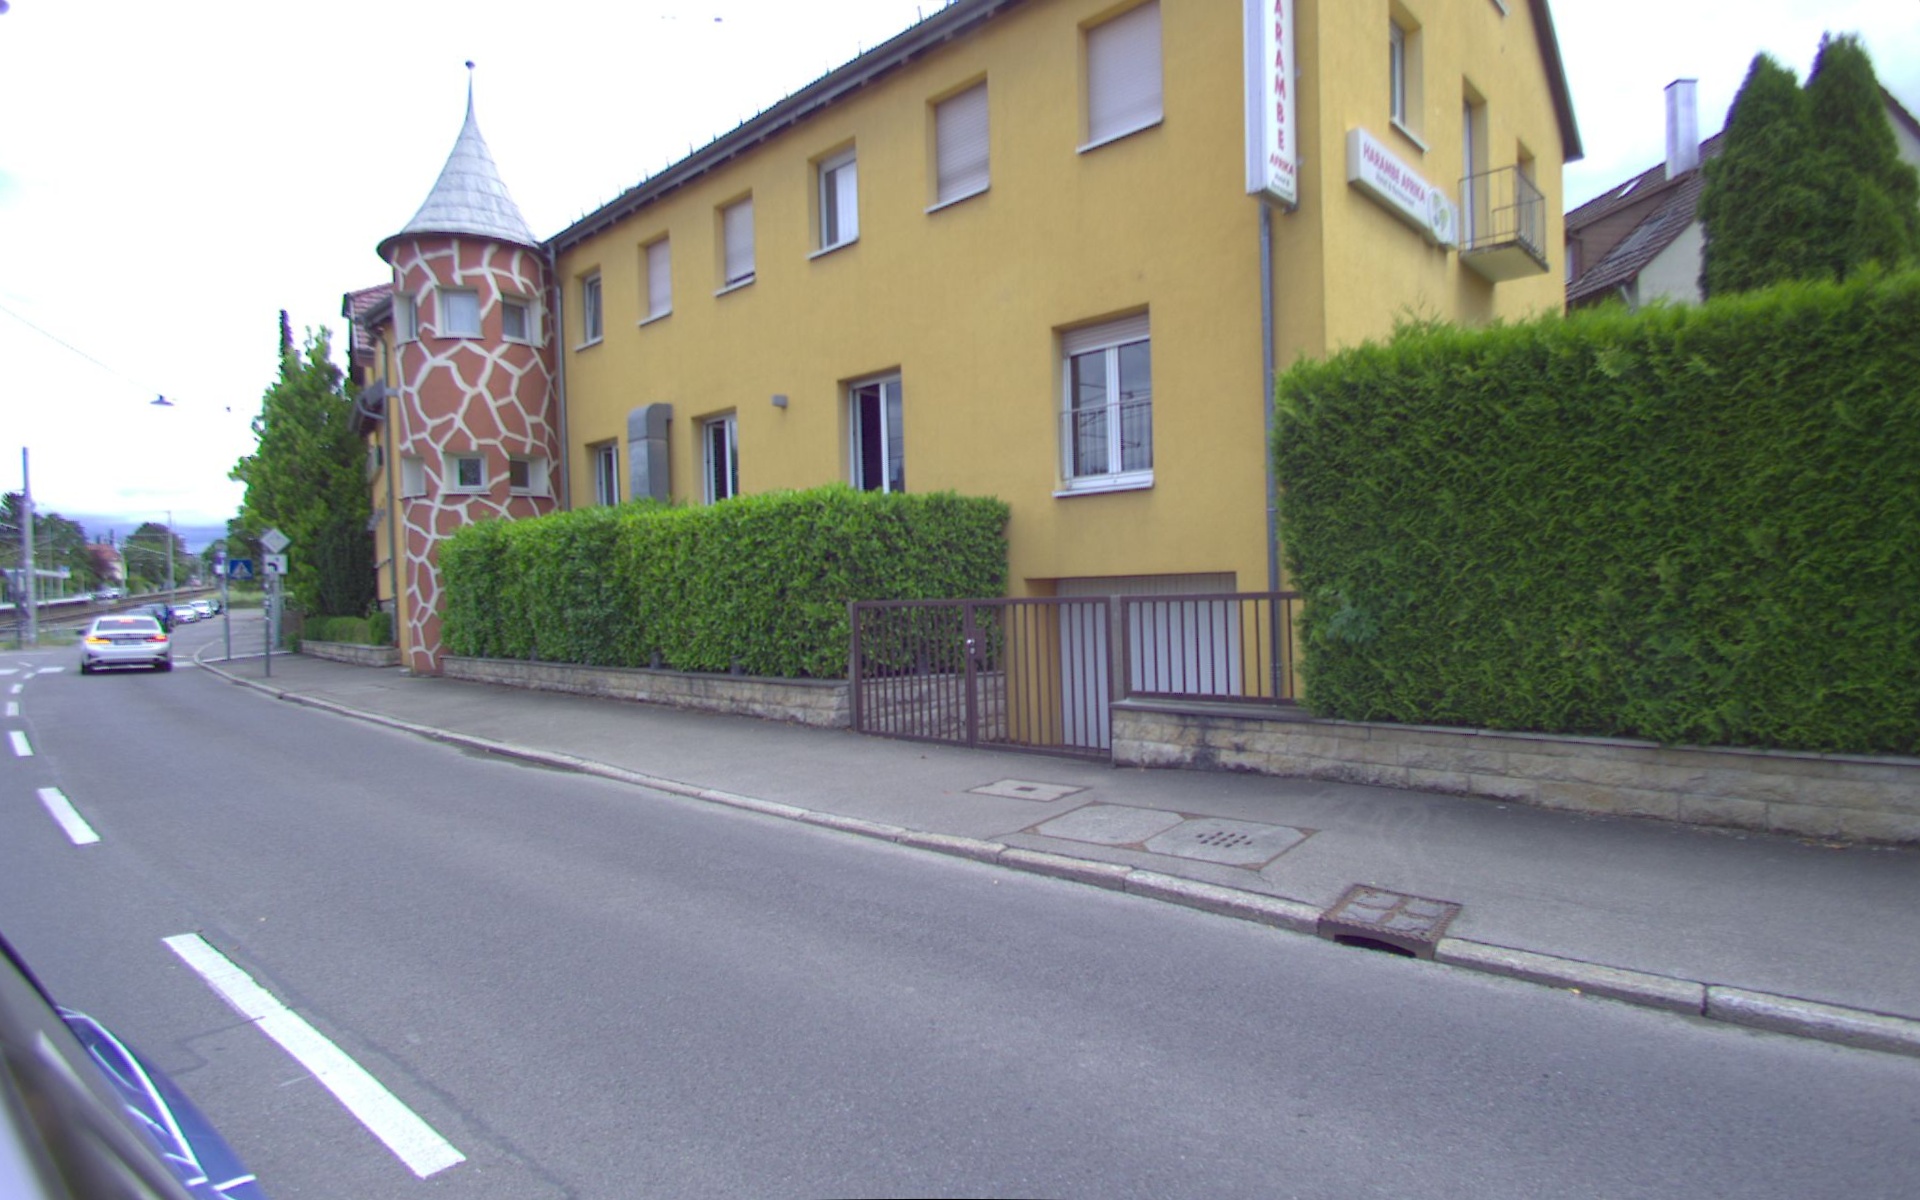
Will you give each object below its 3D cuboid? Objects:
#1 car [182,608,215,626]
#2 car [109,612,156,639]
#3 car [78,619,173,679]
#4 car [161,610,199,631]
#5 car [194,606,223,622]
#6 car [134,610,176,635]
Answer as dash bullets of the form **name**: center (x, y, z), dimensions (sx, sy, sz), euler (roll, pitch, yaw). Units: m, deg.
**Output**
- **car**: center (-64.456, 1.445, 85.717), dimensions (1.823, 1.386, 4.012), euler (-3, 1, -32)
- **car**: center (-50.114, 1.520, 61.339), dimensions (1.792, 1.512, 4.130), euler (-3, 1, -34)
- **car**: center (-21.960, 1.225, 26.666), dimensions (1.795, 1.430, 4.471), euler (1, -2, -40)
- **car**: center (-58.561, 1.504, 76.026), dimensions (1.823, 1.386, 4.012), euler (-3, 1, -32)
- **car**: center (-70.815, 1.288, 95.417), dimensions (1.823, 1.386, 4.012), euler (-3, 1, -32)
- **car**: center (-53.393, 1.477, 67.187), dimensions (1.792, 1.512, 4.130), euler (-3, 1, -34)
